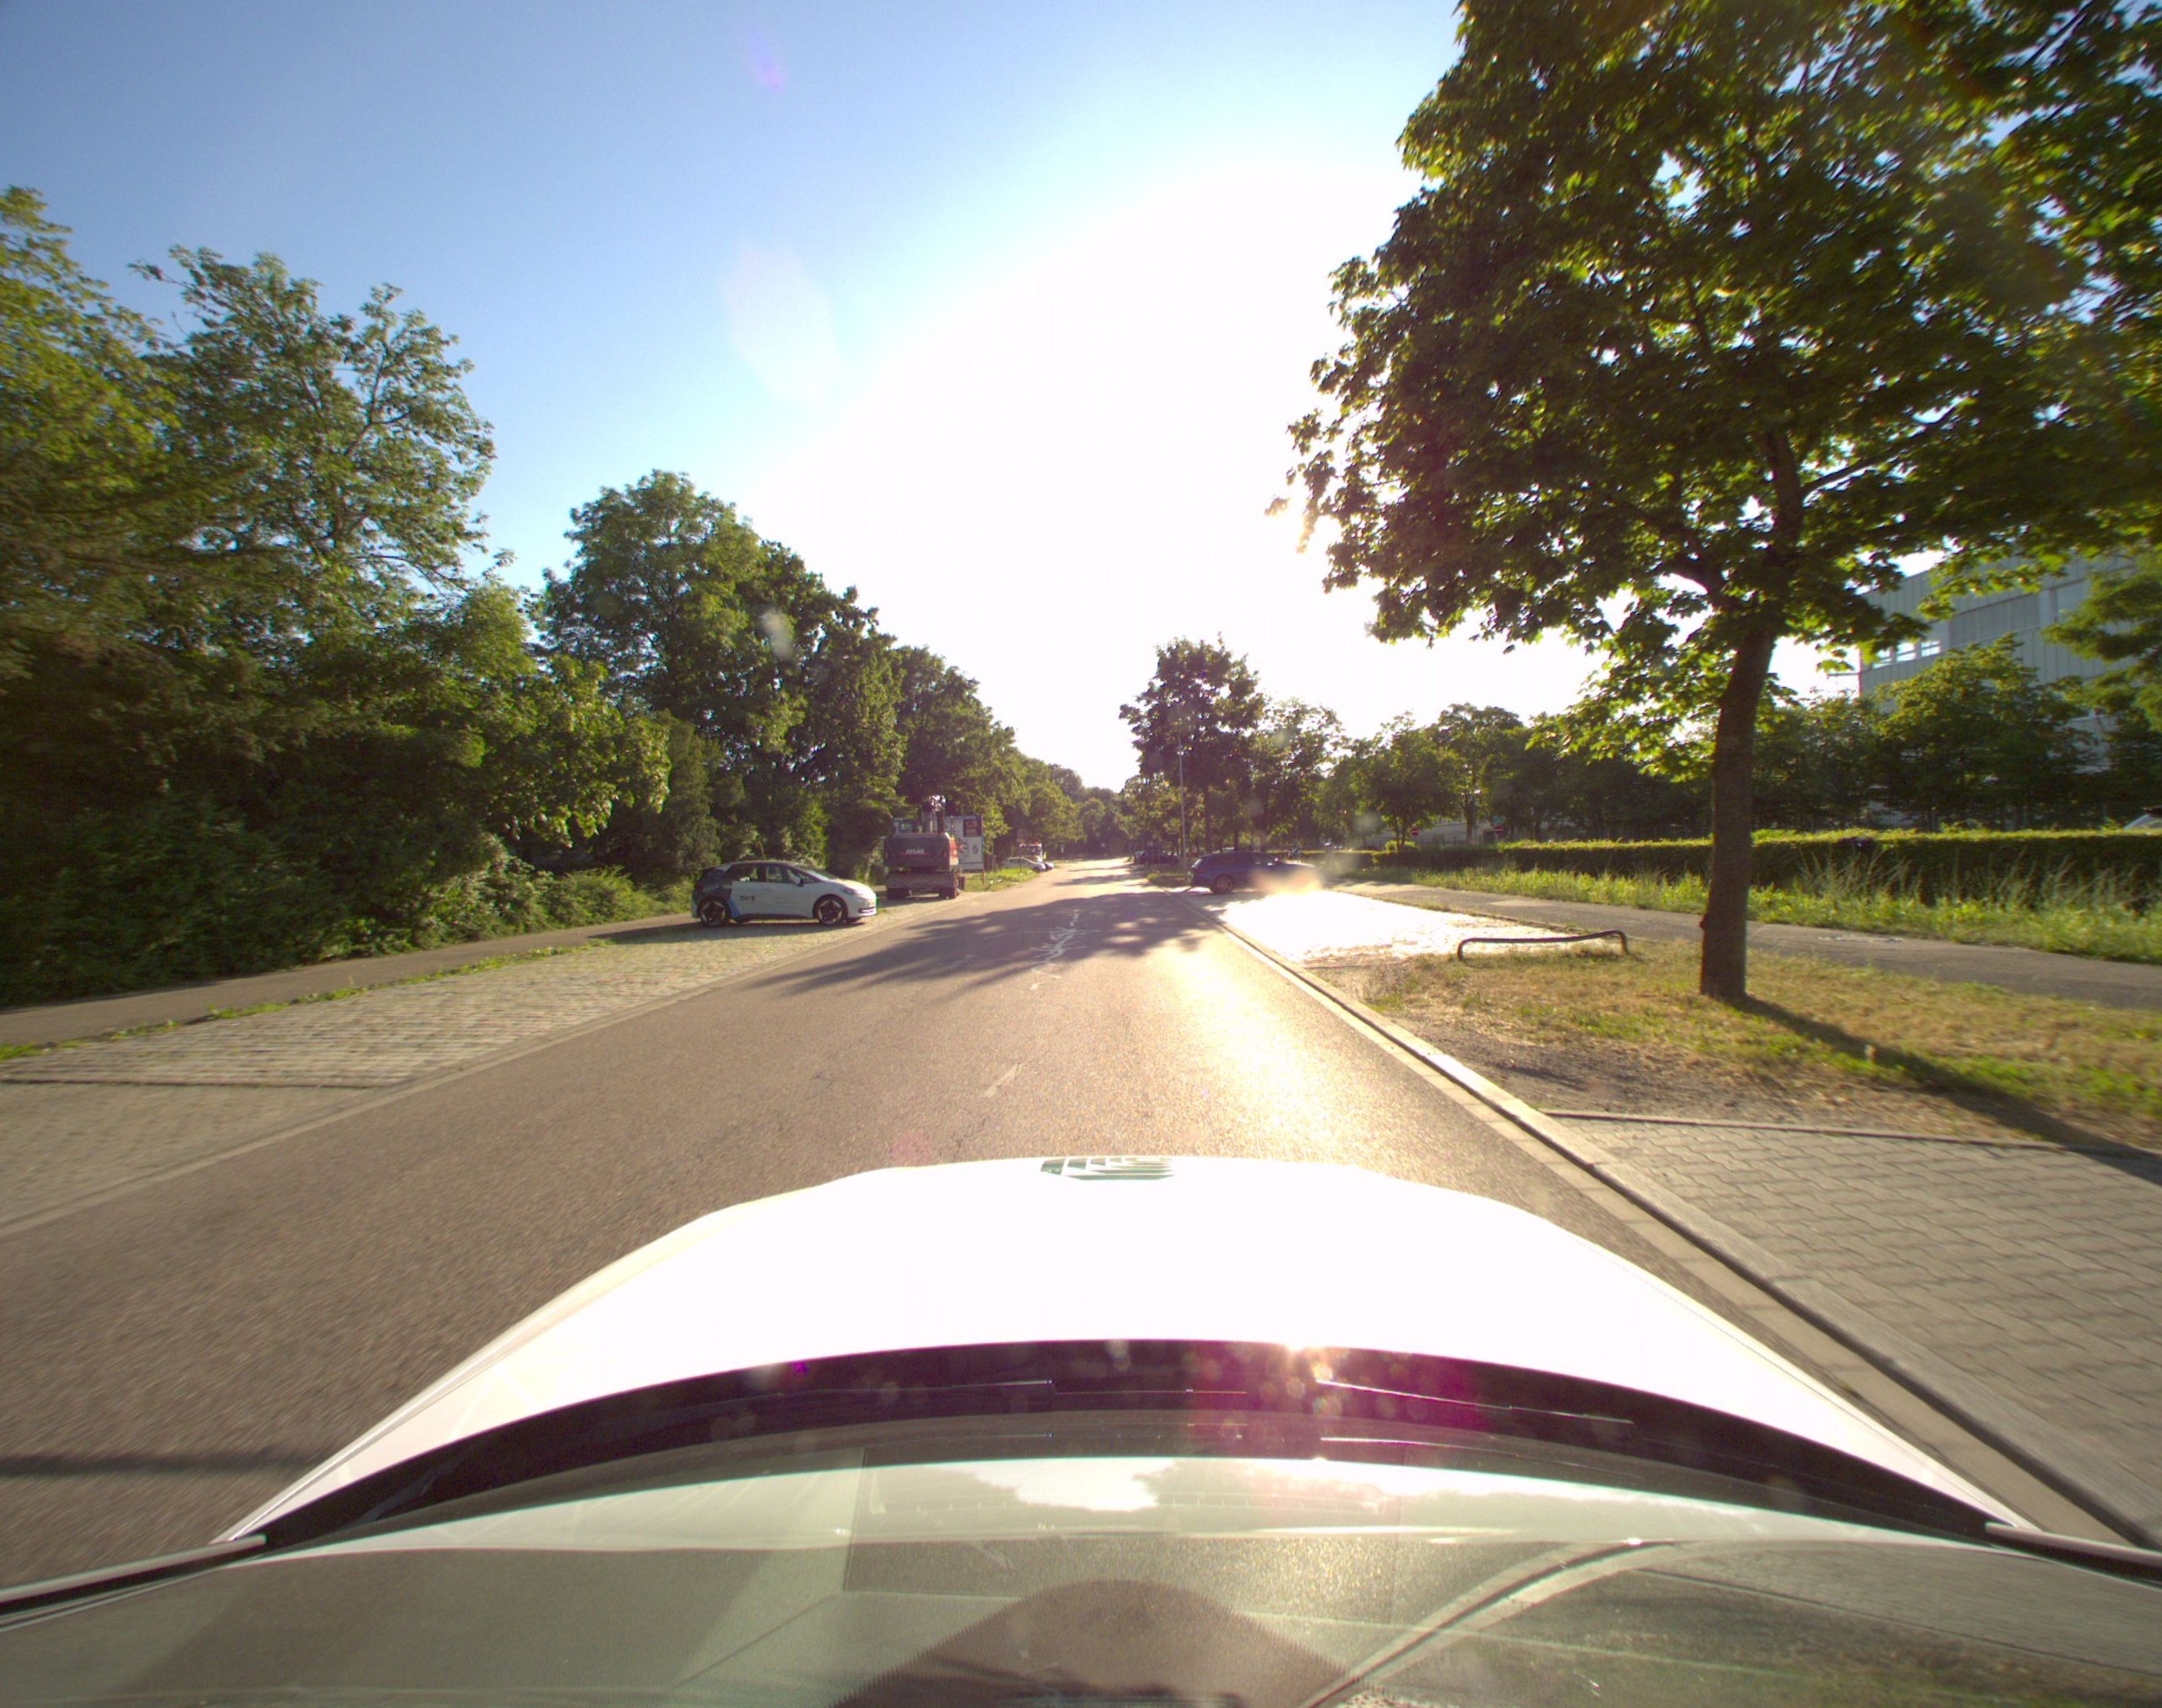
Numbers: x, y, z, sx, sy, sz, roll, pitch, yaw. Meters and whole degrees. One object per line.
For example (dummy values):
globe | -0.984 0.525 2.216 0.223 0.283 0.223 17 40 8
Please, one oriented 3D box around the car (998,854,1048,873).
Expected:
car | -5.200 0.802 72.576 4.351 1.479 1.997 -2 0 -5

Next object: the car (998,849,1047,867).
car | -5.394 0.379 75.216 4.351 1.479 1.997 -2 0 -5

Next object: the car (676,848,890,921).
car | -7.062 0.690 19.625 4.341 1.547 2.001 1 0 2

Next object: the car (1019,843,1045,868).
car | -4.950 0.124 81.941 2.513 2.385 4.365 0 1 -5

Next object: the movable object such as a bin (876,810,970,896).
movable object such as a bin | -6.131 -0.060 32.401 2.831 3.068 4.922 -2 0 -3

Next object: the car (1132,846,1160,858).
car | 9.725 -0.303 121.768 3.973 1.680 2.000 -2 0 0

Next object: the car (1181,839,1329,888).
car | 6.062 0.308 28.825 4.822 1.479 2.001 -2 1 2

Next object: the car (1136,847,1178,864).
car | 7.941 0.183 85.480 4.343 1.729 2.000 0 0 1

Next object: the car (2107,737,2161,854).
car | 17.947 -0.935 11.463 4.340 1.705 2.002 -2 1 3
